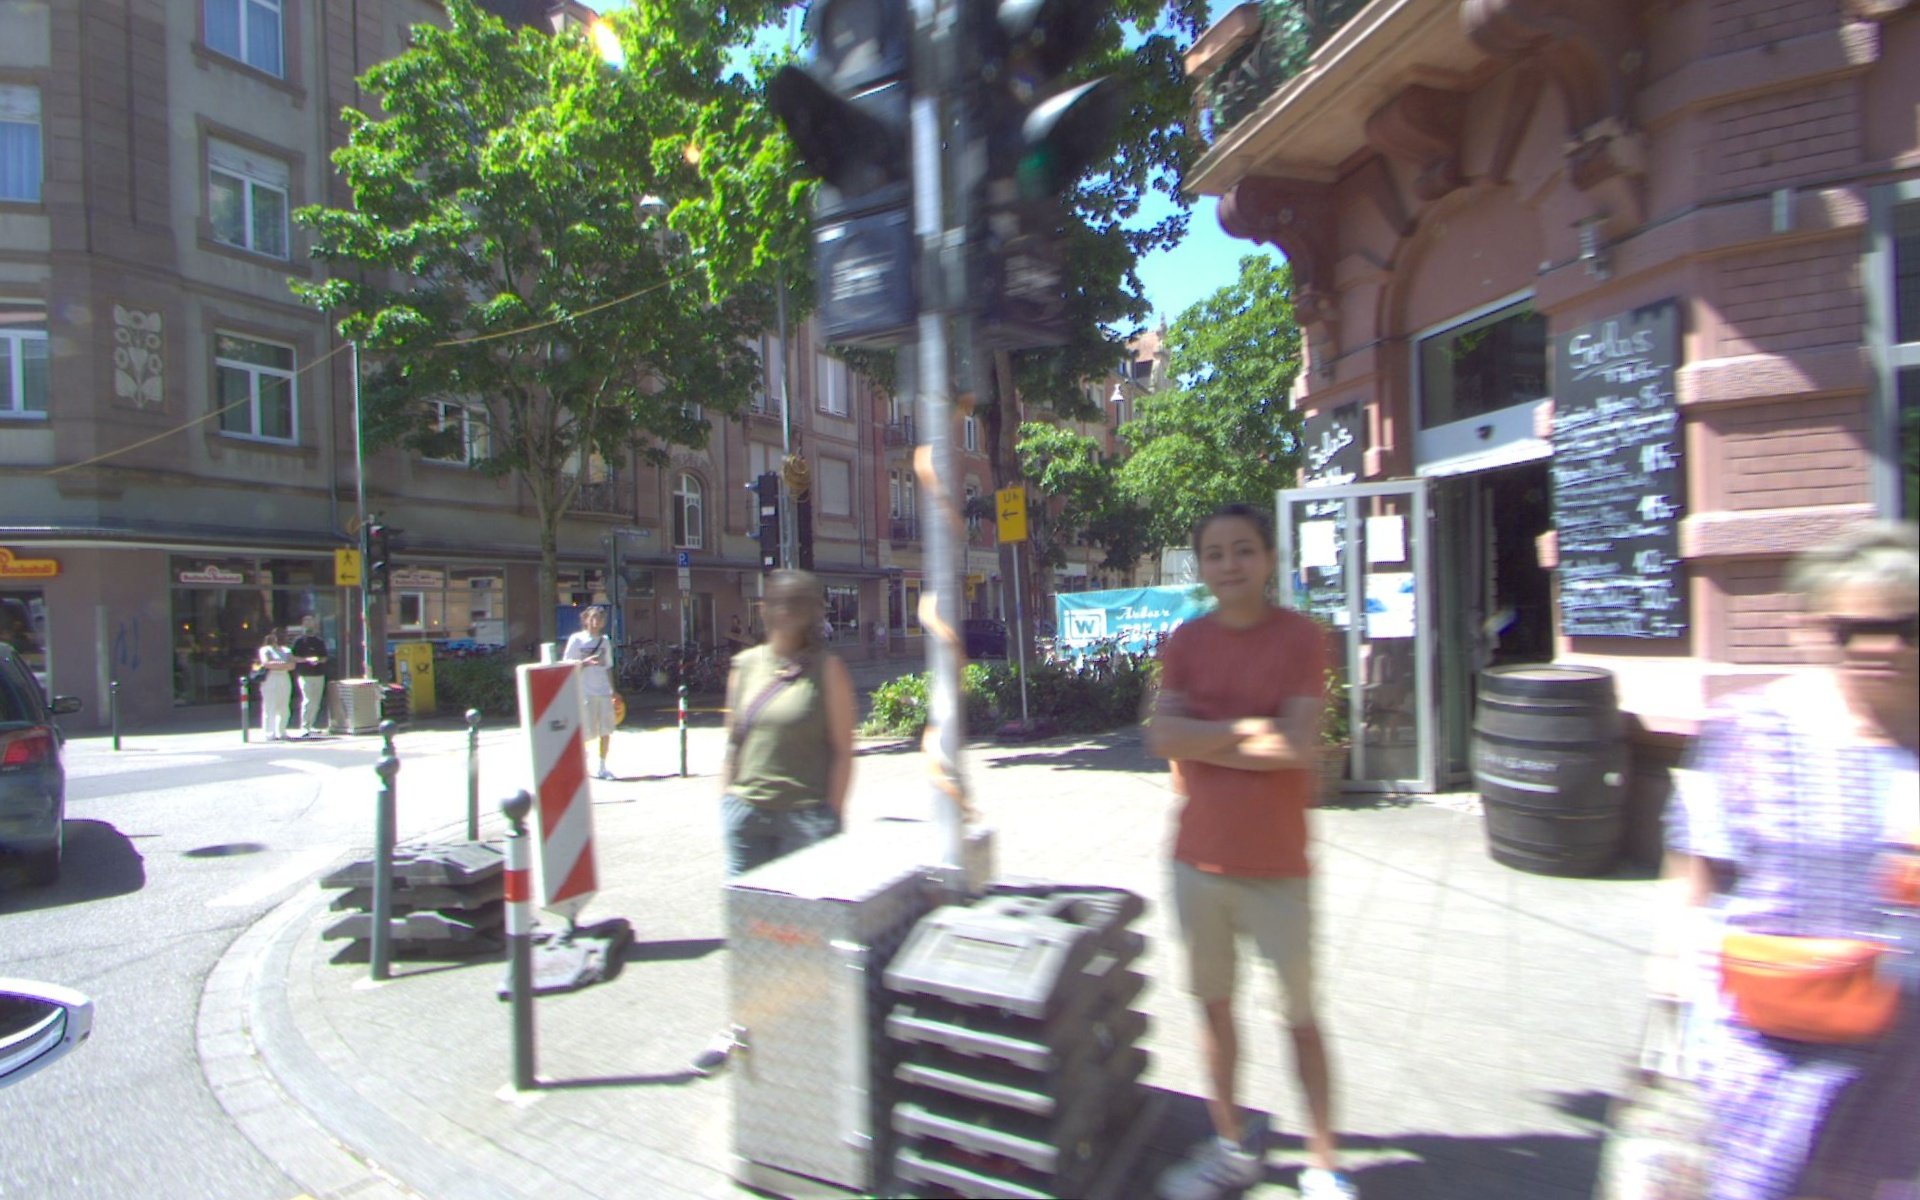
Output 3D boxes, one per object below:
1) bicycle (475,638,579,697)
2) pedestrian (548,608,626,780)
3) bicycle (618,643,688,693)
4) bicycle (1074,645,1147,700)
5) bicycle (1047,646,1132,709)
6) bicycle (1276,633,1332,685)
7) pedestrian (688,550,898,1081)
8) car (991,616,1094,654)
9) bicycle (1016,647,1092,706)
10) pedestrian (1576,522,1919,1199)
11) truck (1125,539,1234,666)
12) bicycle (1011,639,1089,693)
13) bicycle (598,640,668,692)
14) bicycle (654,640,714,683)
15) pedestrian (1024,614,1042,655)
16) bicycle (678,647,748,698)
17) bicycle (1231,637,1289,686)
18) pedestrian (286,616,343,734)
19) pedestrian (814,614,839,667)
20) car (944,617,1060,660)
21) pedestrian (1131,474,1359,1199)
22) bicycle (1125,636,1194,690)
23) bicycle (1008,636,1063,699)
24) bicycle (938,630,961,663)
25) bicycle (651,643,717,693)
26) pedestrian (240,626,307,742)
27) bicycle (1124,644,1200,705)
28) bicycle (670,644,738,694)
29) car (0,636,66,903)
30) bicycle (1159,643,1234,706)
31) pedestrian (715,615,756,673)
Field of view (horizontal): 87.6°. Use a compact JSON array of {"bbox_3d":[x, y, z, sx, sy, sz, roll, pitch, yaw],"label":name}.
[{"bbox_3d":[-9.254,1.414,21.450,1.966,1.147,0.512,-1,-1,-43],"label":"bicycle"},{"bbox_3d":[-4.012,0.986,10.750,0.474,1.754,0.864,-1,-2,-41],"label":"pedestrian"},{"bbox_3d":[-6.989,1.528,22.843,0.463,1.010,1.760,1,0,26],"label":"bicycle"},{"bbox_3d":[2.794,1.301,18.357,0.502,0.883,2.063,-2,-1,33],"label":"bicycle"},{"bbox_3d":[2.124,1.222,16.161,0.502,0.883,2.063,-2,-1,33],"label":"bicycle"},{"bbox_3d":[6.484,1.084,18.802,0.502,0.883,2.063,-2,-1,33],"label":"bicycle"},{"bbox_3d":[-0.548,0.651,3.311,0.473,1.580,0.458,-2,0,36],"label":"pedestrian"},{"bbox_3d":[3.338,1.422,40.720,3.793,1.457,1.786,-1,0,28],"label":"car"},{"bbox_3d":[1.597,1.259,16.780,0.502,0.883,1.735,-2,-1,33],"label":"bicycle"},{"bbox_3d":[1.387,0.667,1.782,0.431,1.564,0.491,-2,2,36],"label":"pedestrian"},{"bbox_3d":[7.546,0.117,34.102,2.255,4.006,4.456,-2,-1,30],"label":"truck"},{"bbox_3d":[1.690,1.191,18.456,0.502,0.883,2.063,-2,-1,33],"label":"bicycle"},{"bbox_3d":[-7.478,1.494,22.969,0.463,1.095,1.760,1,0,26],"label":"bicycle"},{"bbox_3d":[-7.127,1.576,25.960,0.496,1.010,1.723,1,0,26],"label":"bicycle"},{"bbox_3d":[2.831,1.347,38.998,0.535,1.604,0.476,-1,0,28],"label":"pedestrian"},{"bbox_3d":[-5.353,1.554,21.779,0.463,1.010,1.760,1,0,26],"label":"bicycle"},{"bbox_3d":[6.104,1.231,20.300,0.502,0.883,2.062,-2,-1,35],"label":"bicycle"},{"bbox_3d":[-10.206,1.167,15.840,0.463,1.794,0.575,2,3,21],"label":"pedestrian"},{"bbox_3d":[-4.156,1.252,31.214,0.552,1.635,0.489,-1,0,35],"label":"pedestrian"},{"bbox_3d":[1.506,1.355,36.121,3.793,1.457,1.786,-1,0,28],"label":"car"},{"bbox_3d":[0.677,0.589,2.374,0.396,1.697,0.331,-2,0,36],"label":"pedestrian"},{"bbox_3d":[3.670,1.130,18.327,0.502,0.883,2.063,-2,-1,33],"label":"bicycle"},{"bbox_3d":[1.482,1.286,19.430,0.501,1.121,1.780,-2,-1,23],"label":"bicycle"},{"bbox_3d":[-0.374,1.567,33.888,0.534,1.059,1.937,-1,-1,-8],"label":"bicycle"},{"bbox_3d":[-6.225,1.520,22.662,0.463,1.019,1.683,1,0,26],"label":"bicycle"},{"bbox_3d":[-10.411,1.249,15.199,0.415,1.668,0.701,2,3,21],"label":"pedestrian"},{"bbox_3d":[3.378,1.202,16.608,0.502,0.883,2.063,-2,-1,33],"label":"bicycle"},{"bbox_3d":[-5.709,1.529,22.437,0.463,1.010,1.760,1,0,26],"label":"bicycle"},{"bbox_3d":[-6.896,0.992,6.433,1.603,1.504,3.209,1,-2,-44],"label":"car"},{"bbox_3d":[3.874,1.180,16.269,0.502,0.883,2.063,-2,-1,33],"label":"bicycle"},{"bbox_3d":[-6.561,1.275,29.250,0.775,1.655,0.855,-1,0,29],"label":"pedestrian"}]
